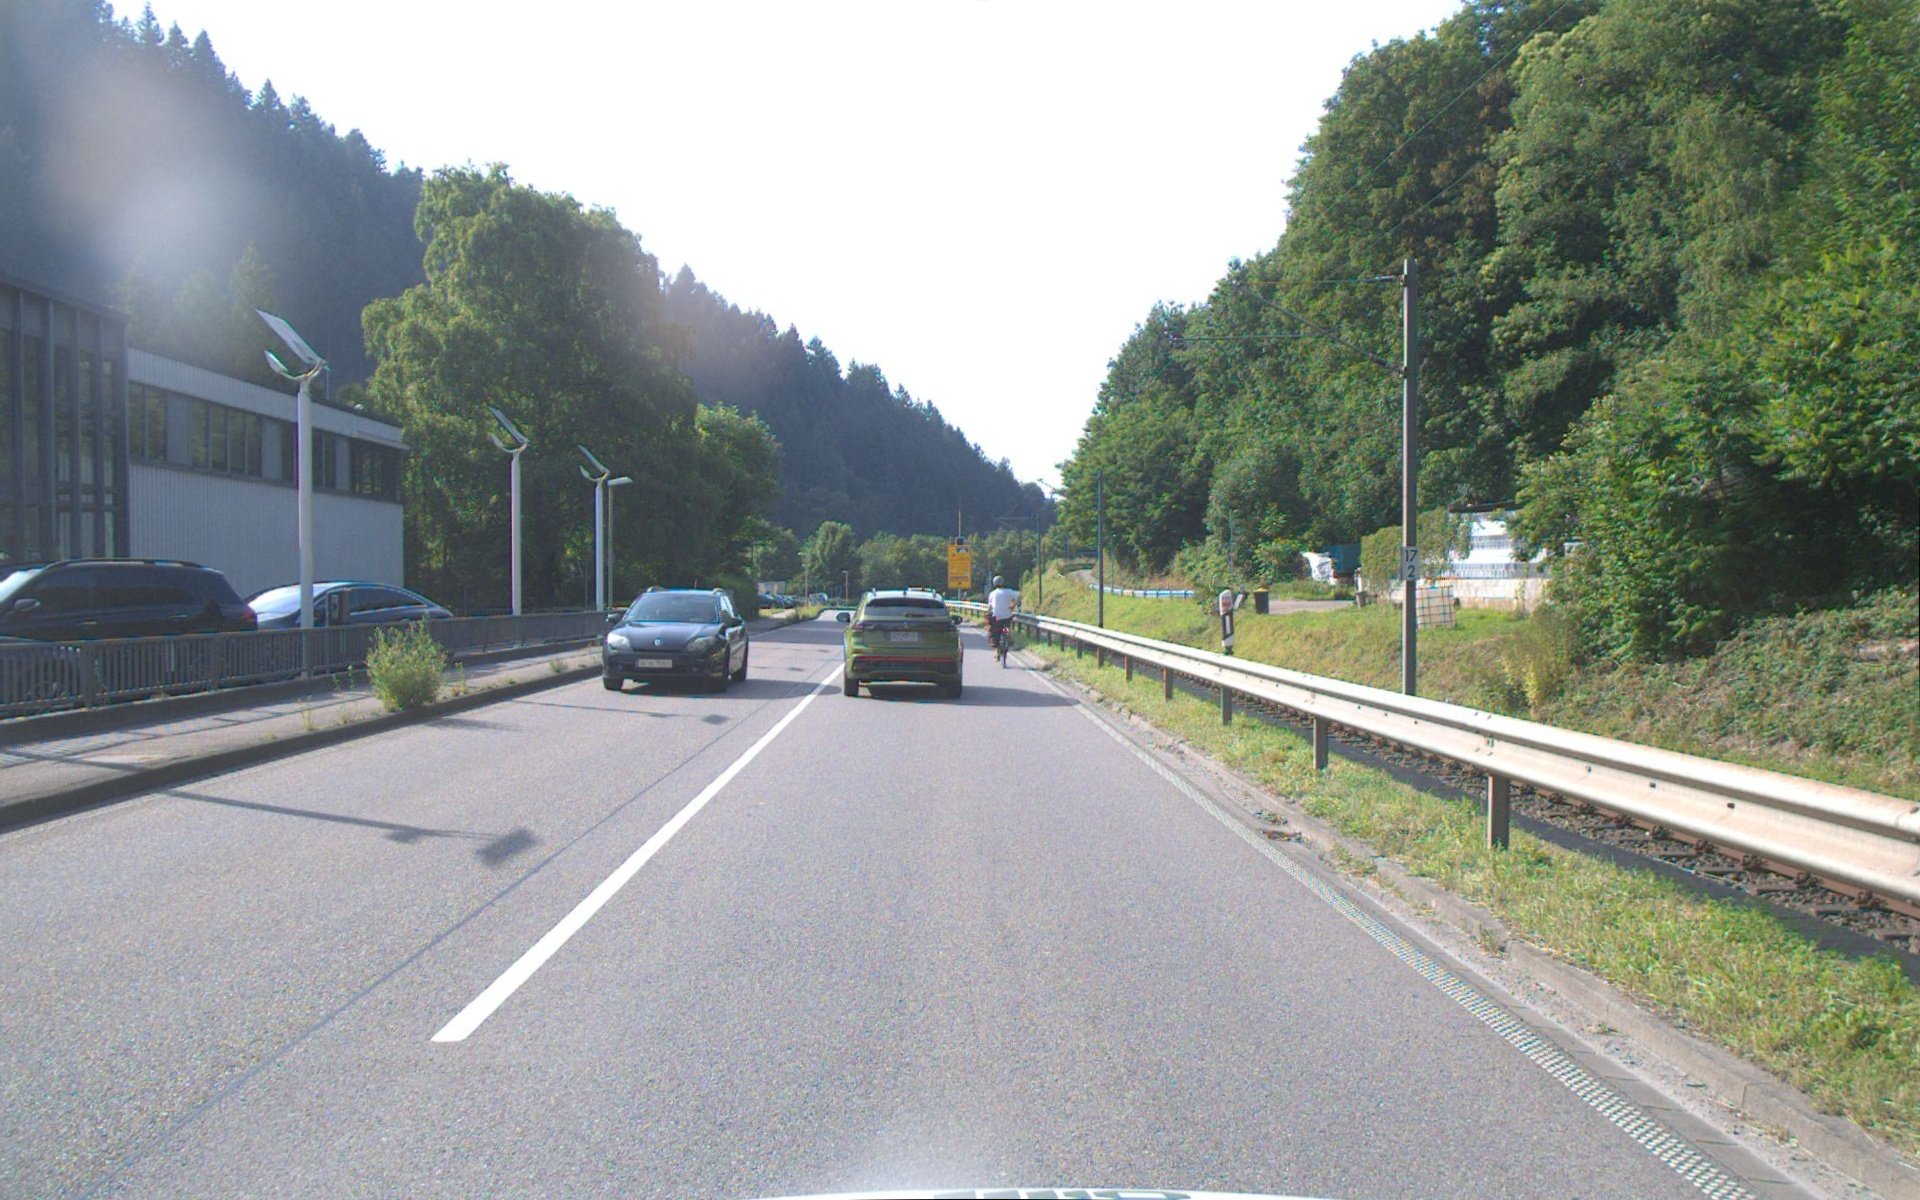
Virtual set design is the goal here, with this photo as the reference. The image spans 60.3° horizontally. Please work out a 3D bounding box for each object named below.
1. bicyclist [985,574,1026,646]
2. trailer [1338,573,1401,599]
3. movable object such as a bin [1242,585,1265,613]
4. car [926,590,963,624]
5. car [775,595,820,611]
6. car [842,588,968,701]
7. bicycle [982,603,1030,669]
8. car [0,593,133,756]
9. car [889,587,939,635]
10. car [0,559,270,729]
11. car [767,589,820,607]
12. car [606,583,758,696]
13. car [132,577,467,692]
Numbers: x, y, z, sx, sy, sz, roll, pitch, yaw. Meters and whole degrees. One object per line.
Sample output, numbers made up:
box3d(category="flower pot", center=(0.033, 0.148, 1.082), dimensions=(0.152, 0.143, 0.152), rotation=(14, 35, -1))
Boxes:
box3d(category="bicyclist", center=(0.908, 0.198, 33.273), dimensions=(0.766, 1.436, 0.674), rotation=(0, 0, -4))
box3d(category="trailer", center=(20.403, -0.664, 82.499), dimensions=(2.025, 1.213, 3.712), rotation=(1, 0, -3))
box3d(category="movable object such as a bin", center=(12.101, -0.052, 68.194), dimensions=(0.837, 1.127, 0.935), rotation=(0, 0, 4))
box3d(category="car", center=(-0.806, 0.337, 84.071), dimensions=(1.704, 1.630, 3.998), rotation=(-2, 0, -2))
box3d(category="car", center=(-15.485, 0.263, 157.710), dimensions=(4.172, 1.458, 1.556), rotation=(0, 0, -1))
box3d(category="car", center=(-0.829, 0.598, 24.694), dimensions=(1.704, 1.534, 3.998), rotation=(0, 0, -2))
box3d(category="bicycle", center=(0.904, 0.696, 33.269), dimensions=(0.795, 1.272, 2.121), rotation=(0, 0, -3))
box3d(category="car", center=(-9.926, 0.692, 14.456), dimensions=(1.674, 1.464, 4.727), rotation=(0, 0, 28))
box3d(category="car", center=(-1.659, 0.381, 58.771), dimensions=(1.704, 1.630, 3.998), rotation=(1, 0, -2))
box3d(category="car", center=(-10.480, 0.447, 18.706), dimensions=(1.957, 1.772, 4.680), rotation=(0, 1, 31))
box3d(category="car", center=(-13.755, -0.144, 136.778), dimensions=(4.172, 1.458, 1.556), rotation=(0, 0, -1))
box3d(category="car", center=(-4.120, 0.539, 25.087), dimensions=(1.643, 1.511, 4.245), rotation=(2, 0, -2))
box3d(category="car", center=(-10.036, 0.490, 25.591), dimensions=(1.953, 1.589, 4.851), rotation=(0, 0, 23))
